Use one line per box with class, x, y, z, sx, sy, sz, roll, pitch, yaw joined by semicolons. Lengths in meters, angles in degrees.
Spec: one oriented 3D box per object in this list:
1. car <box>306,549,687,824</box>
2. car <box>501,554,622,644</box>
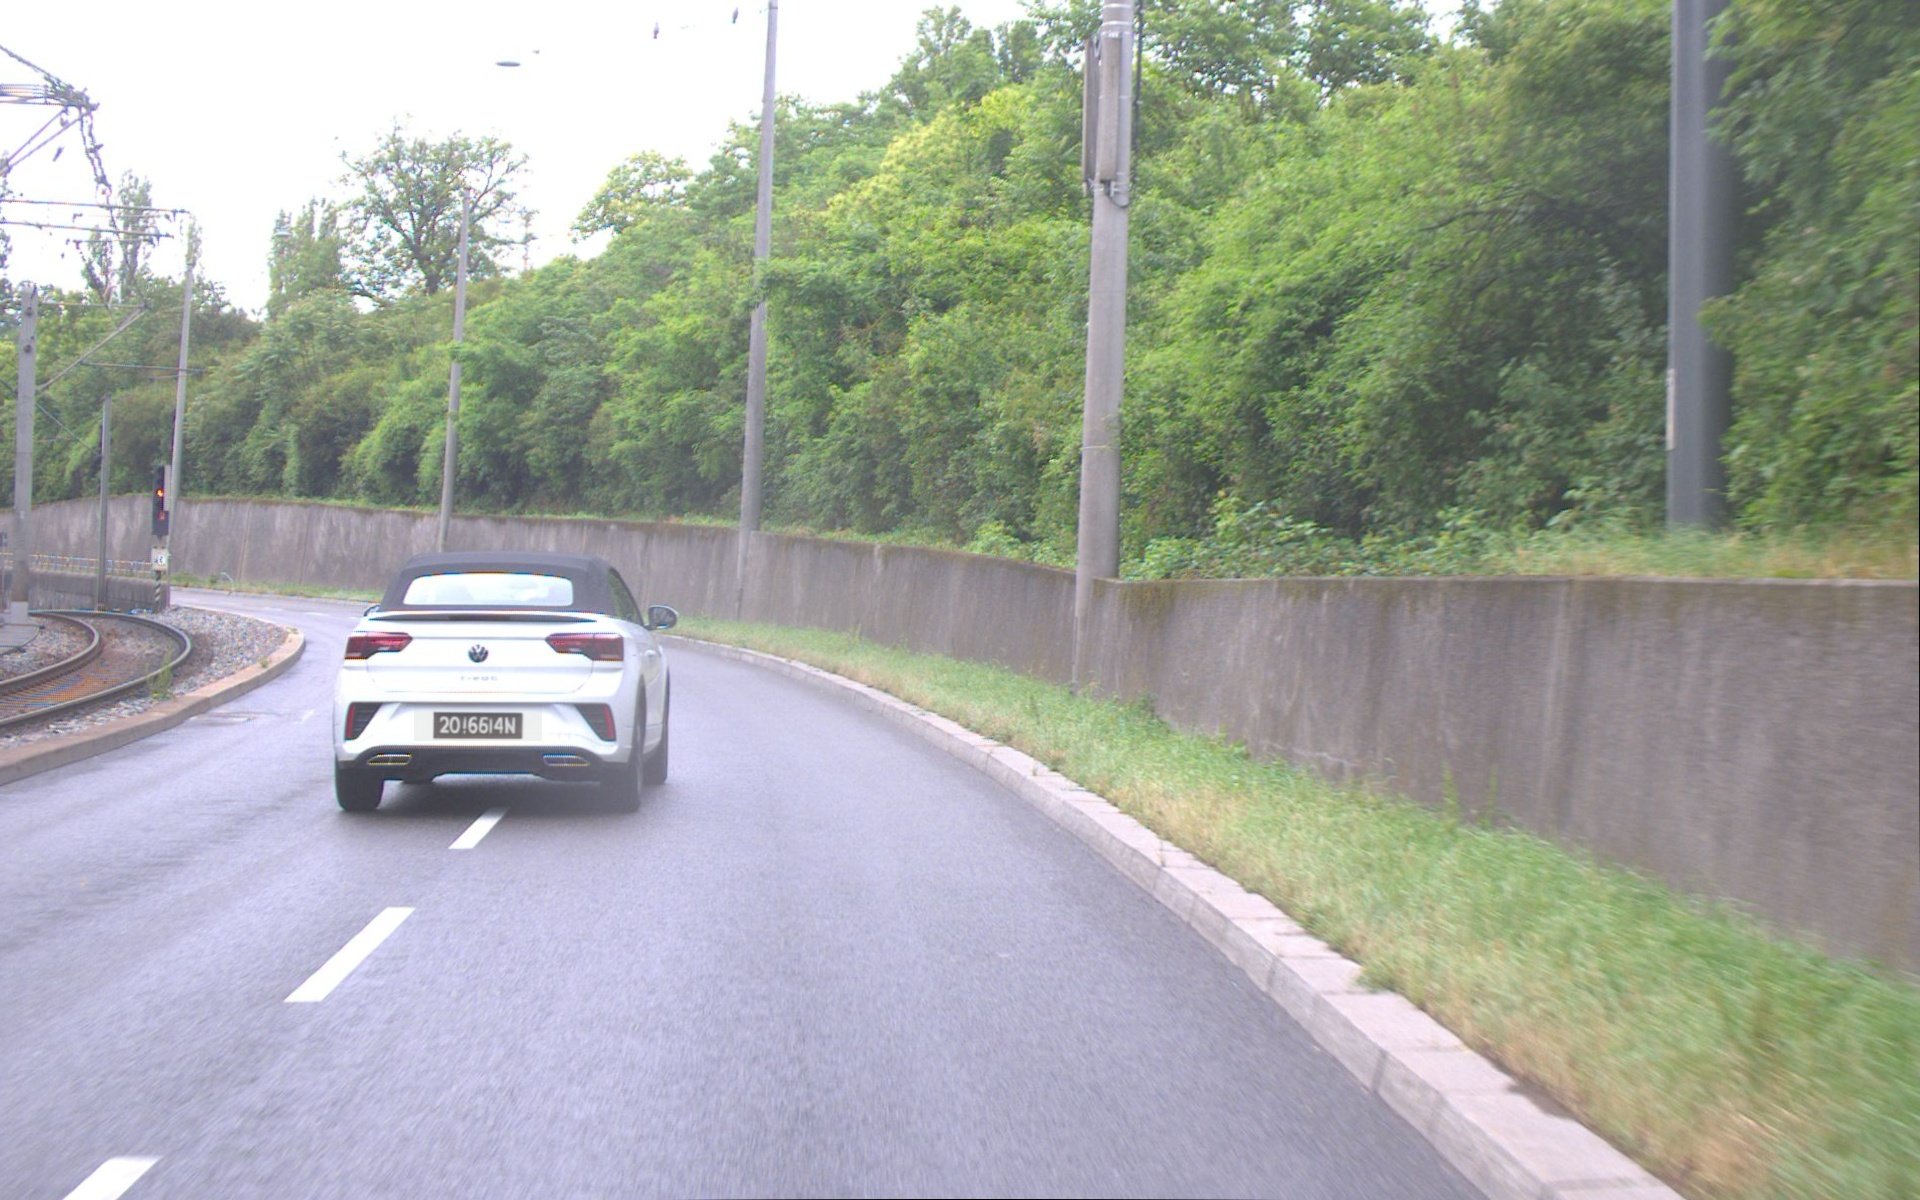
car;-2.778;0.452;21.547;1.871;1.519;4.540;1;1;-1
car;-7.133;-0.036;61.315;1.763;1.496;4.001;2;0;-12
